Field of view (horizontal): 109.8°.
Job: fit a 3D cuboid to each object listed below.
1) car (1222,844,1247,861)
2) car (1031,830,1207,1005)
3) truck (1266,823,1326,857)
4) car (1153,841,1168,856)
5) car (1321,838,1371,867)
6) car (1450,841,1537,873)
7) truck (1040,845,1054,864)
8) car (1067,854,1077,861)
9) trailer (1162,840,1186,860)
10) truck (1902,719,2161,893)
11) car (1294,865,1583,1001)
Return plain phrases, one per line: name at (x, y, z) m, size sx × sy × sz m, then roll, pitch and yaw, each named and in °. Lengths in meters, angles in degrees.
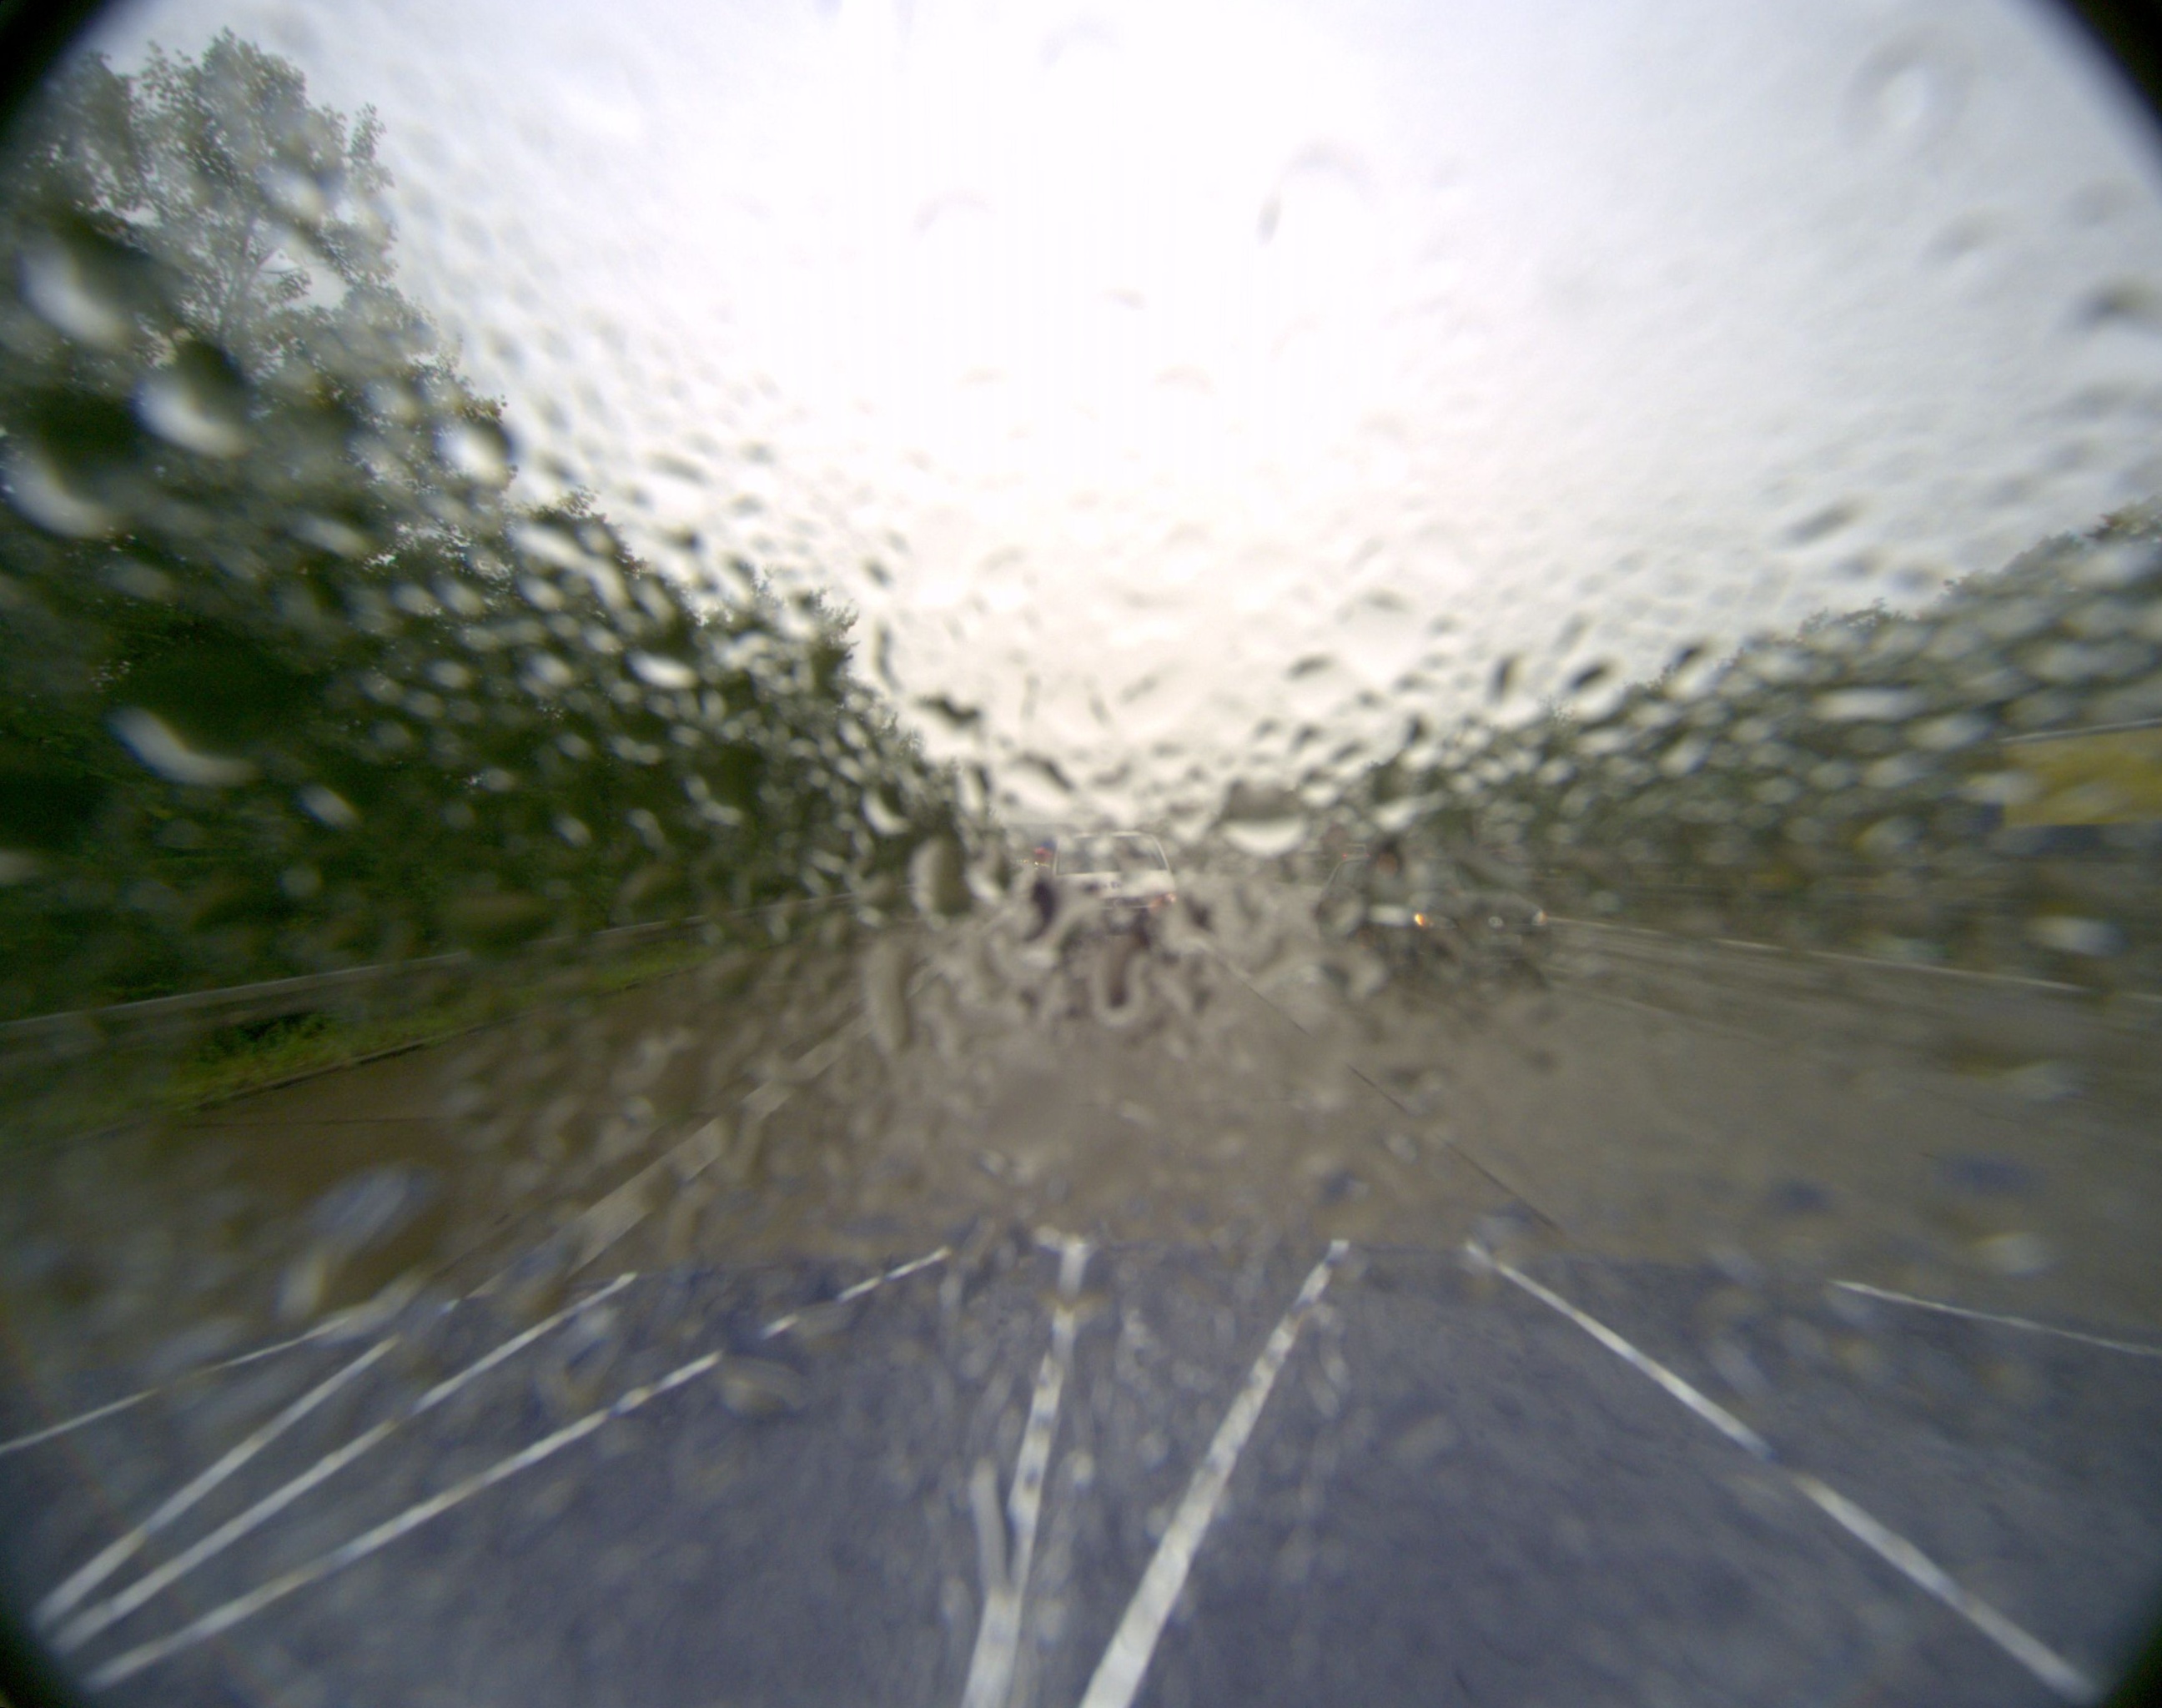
car at (19.300, -0.225, 95.467) m, size 1.982 × 2.002 × 5.197 m, roll -3°, pitch 0°, yaw 0°
car at (0.404, 0.718, 10.999) m, size 1.904 × 1.883 × 5.042 m, roll -2°, pitch 0°, yaw -1°
truck at (22.672, -1.351, 81.011) m, size 2.781 × 3.296 × 11.514 m, roll -2°, pitch 0°, yaw -1°
car at (15.912, -1.067, 152.960) m, size 2.094 × 2.883 × 6.533 m, roll -2°, pitch 0°, yaw -2°
car at (20.554, -0.123, 59.124) m, size 1.982 × 2.002 × 5.197 m, roll -3°, pitch 0°, yaw 0°
car at (20.921, 0.131, 38.784) m, size 1.921 × 1.475 × 4.473 m, roll -3°, pitch 0°, yaw 0°
truck at (-7.799, 0.253, 174.993) m, size 3.059 × 3.994 × 10.042 m, roll 1°, pitch -2°, yaw -3°
car at (-1.825, 0.729, 156.628) m, size 1.933 × 1.426 × 4.518 m, roll 1°, pitch 0°, yaw 2°
trailer at (19.474, -0.817, 160.474) m, size 3.145 × 3.834 × 12.868 m, roll -2°, pitch 0°, yaw -1°
truck at (24.159, -1.068, 16.204) m, size 2.591 × 3.679 × 9.799 m, roll -2°, pitch 0°, yaw 0°
car at (4.460, 0.876, 10.328) m, size 1.745 × 1.380 × 4.320 m, roll 0°, pitch 0°, yaw -2°
